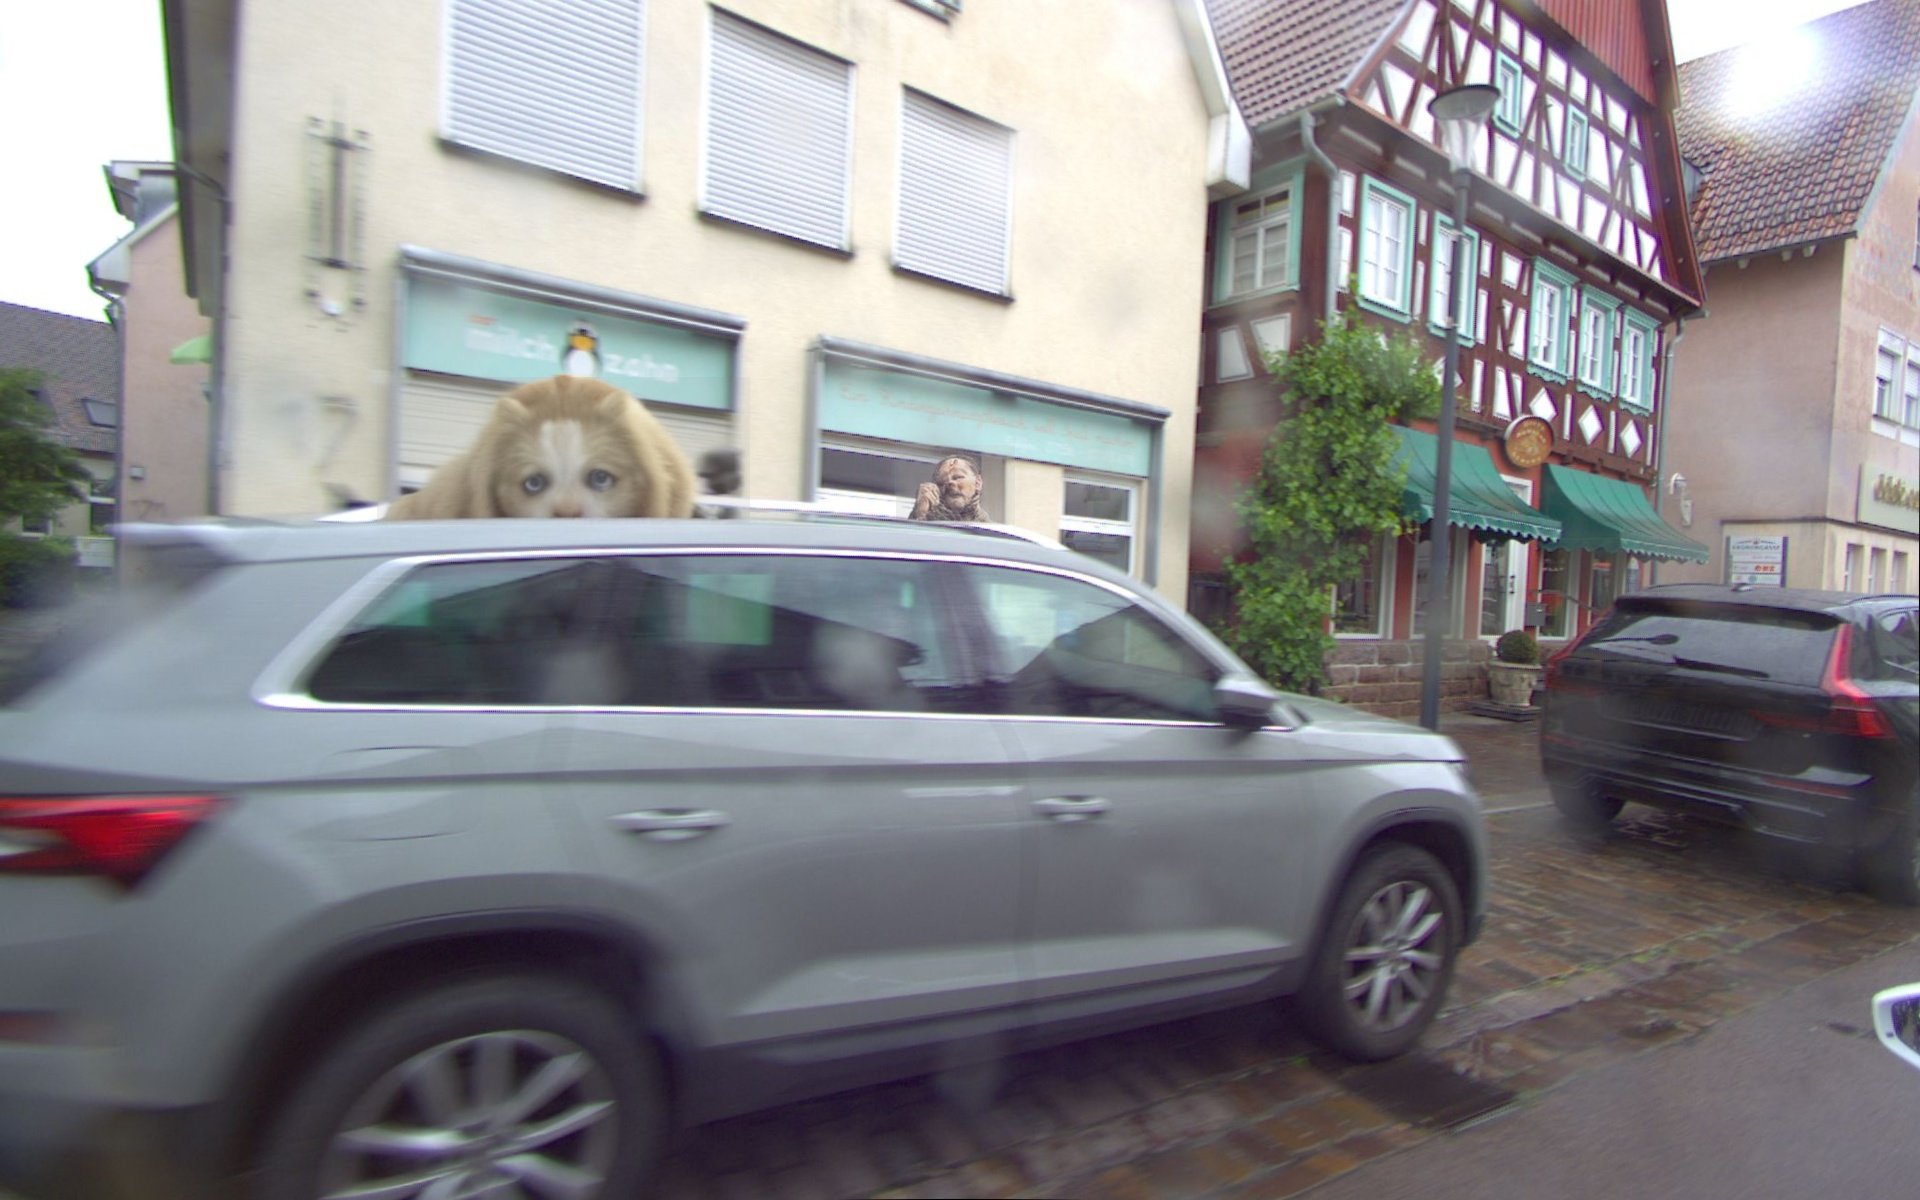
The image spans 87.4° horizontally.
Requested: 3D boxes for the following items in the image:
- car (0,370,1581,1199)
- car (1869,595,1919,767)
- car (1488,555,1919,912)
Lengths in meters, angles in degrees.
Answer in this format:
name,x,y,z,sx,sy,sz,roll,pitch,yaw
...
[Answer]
name,x,y,z,sx,sy,sz,roll,pitch,yaw
car,-0.201,0.544,3.258,4.425,1.697,1.763,3,2,-29
car,10.922,0.853,9.849,4.234,1.572,1.824,3,0,-31
car,5.739,0.706,6.727,4.489,1.697,1.824,3,0,-31
